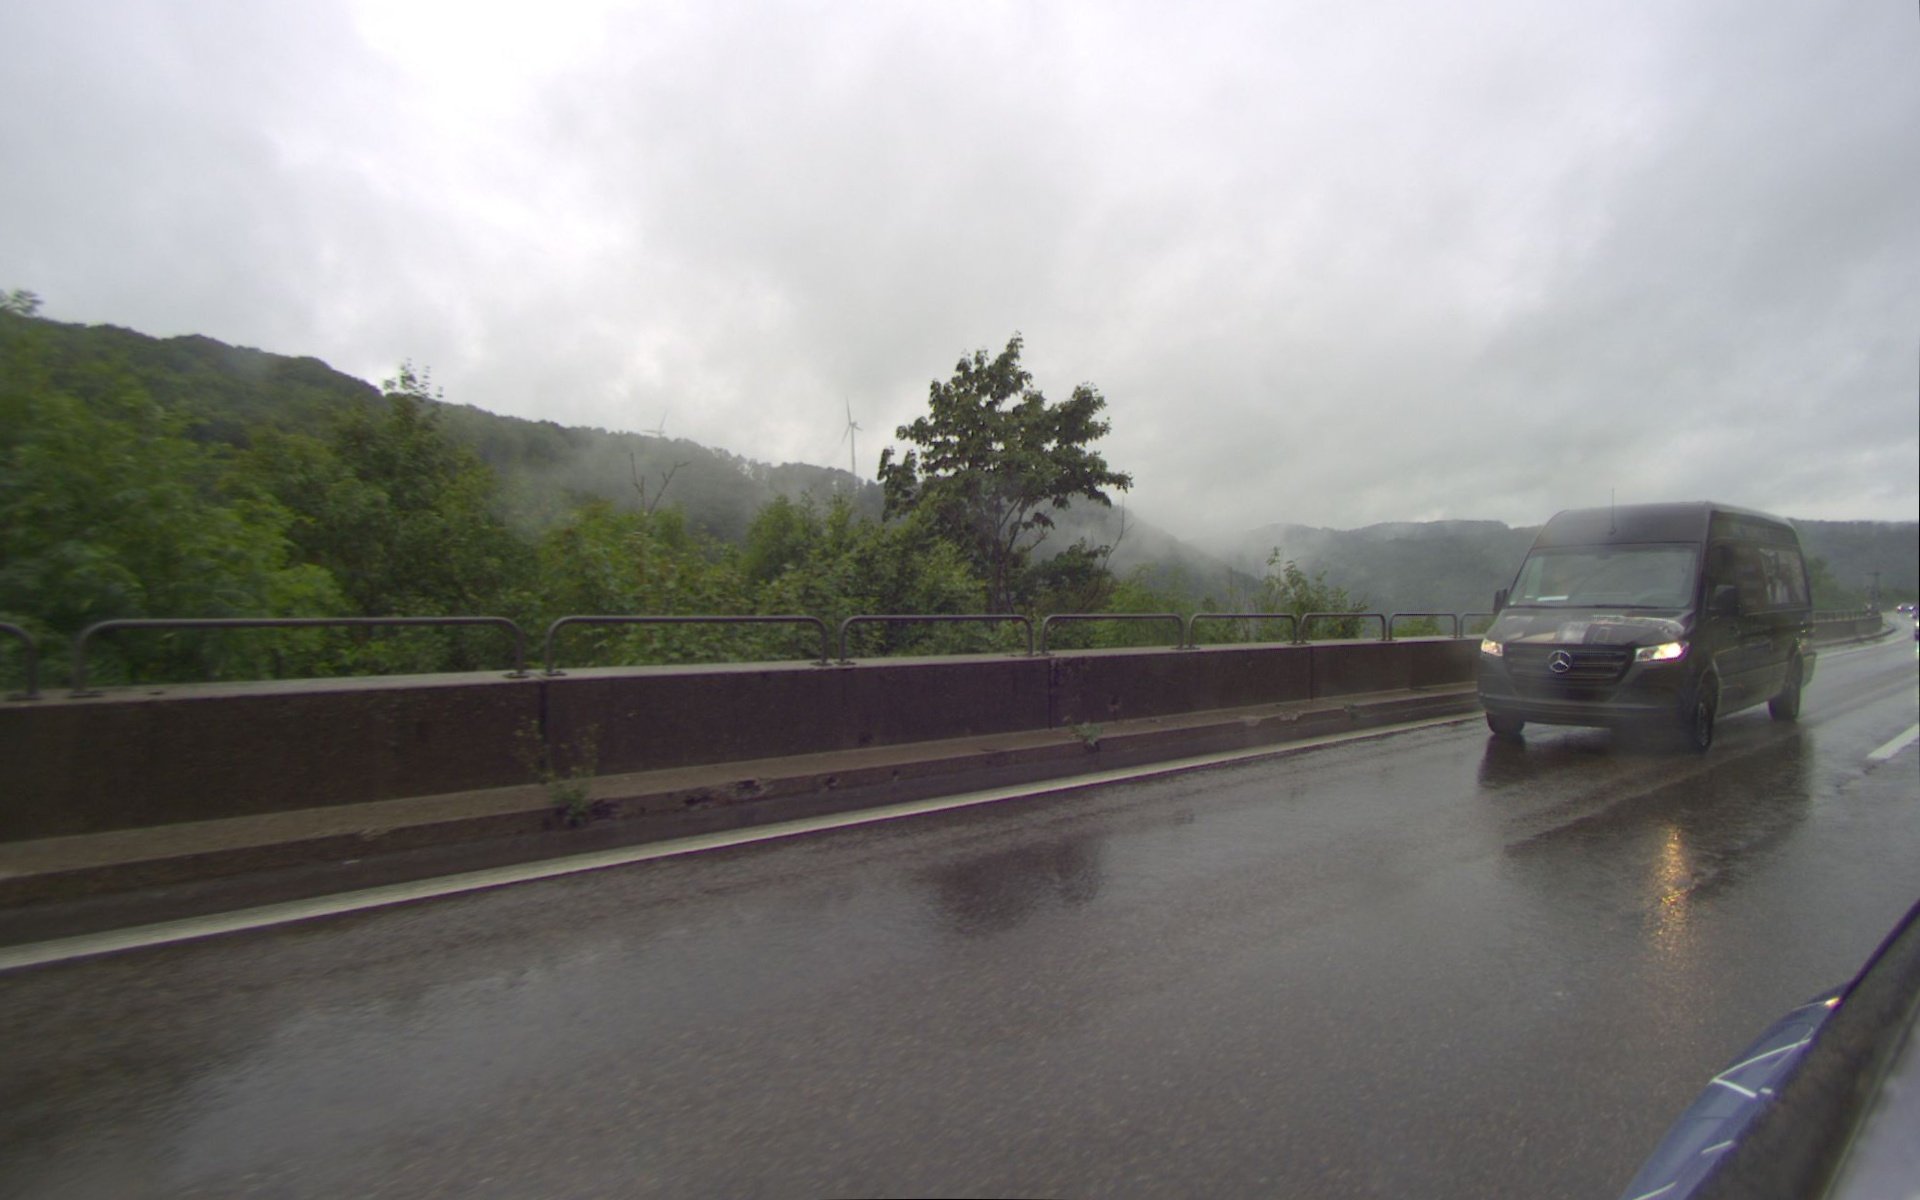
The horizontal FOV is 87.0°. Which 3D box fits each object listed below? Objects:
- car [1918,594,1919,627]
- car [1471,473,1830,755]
[{"bbox_3d":[44.643,0.454,45.535,4.487,1.433,1.988,0,0,-43],"label":"car"},{"bbox_3d":[8.475,0.109,12.042,6.589,2.526,1.996,0,0,-42],"label":"car"}]
